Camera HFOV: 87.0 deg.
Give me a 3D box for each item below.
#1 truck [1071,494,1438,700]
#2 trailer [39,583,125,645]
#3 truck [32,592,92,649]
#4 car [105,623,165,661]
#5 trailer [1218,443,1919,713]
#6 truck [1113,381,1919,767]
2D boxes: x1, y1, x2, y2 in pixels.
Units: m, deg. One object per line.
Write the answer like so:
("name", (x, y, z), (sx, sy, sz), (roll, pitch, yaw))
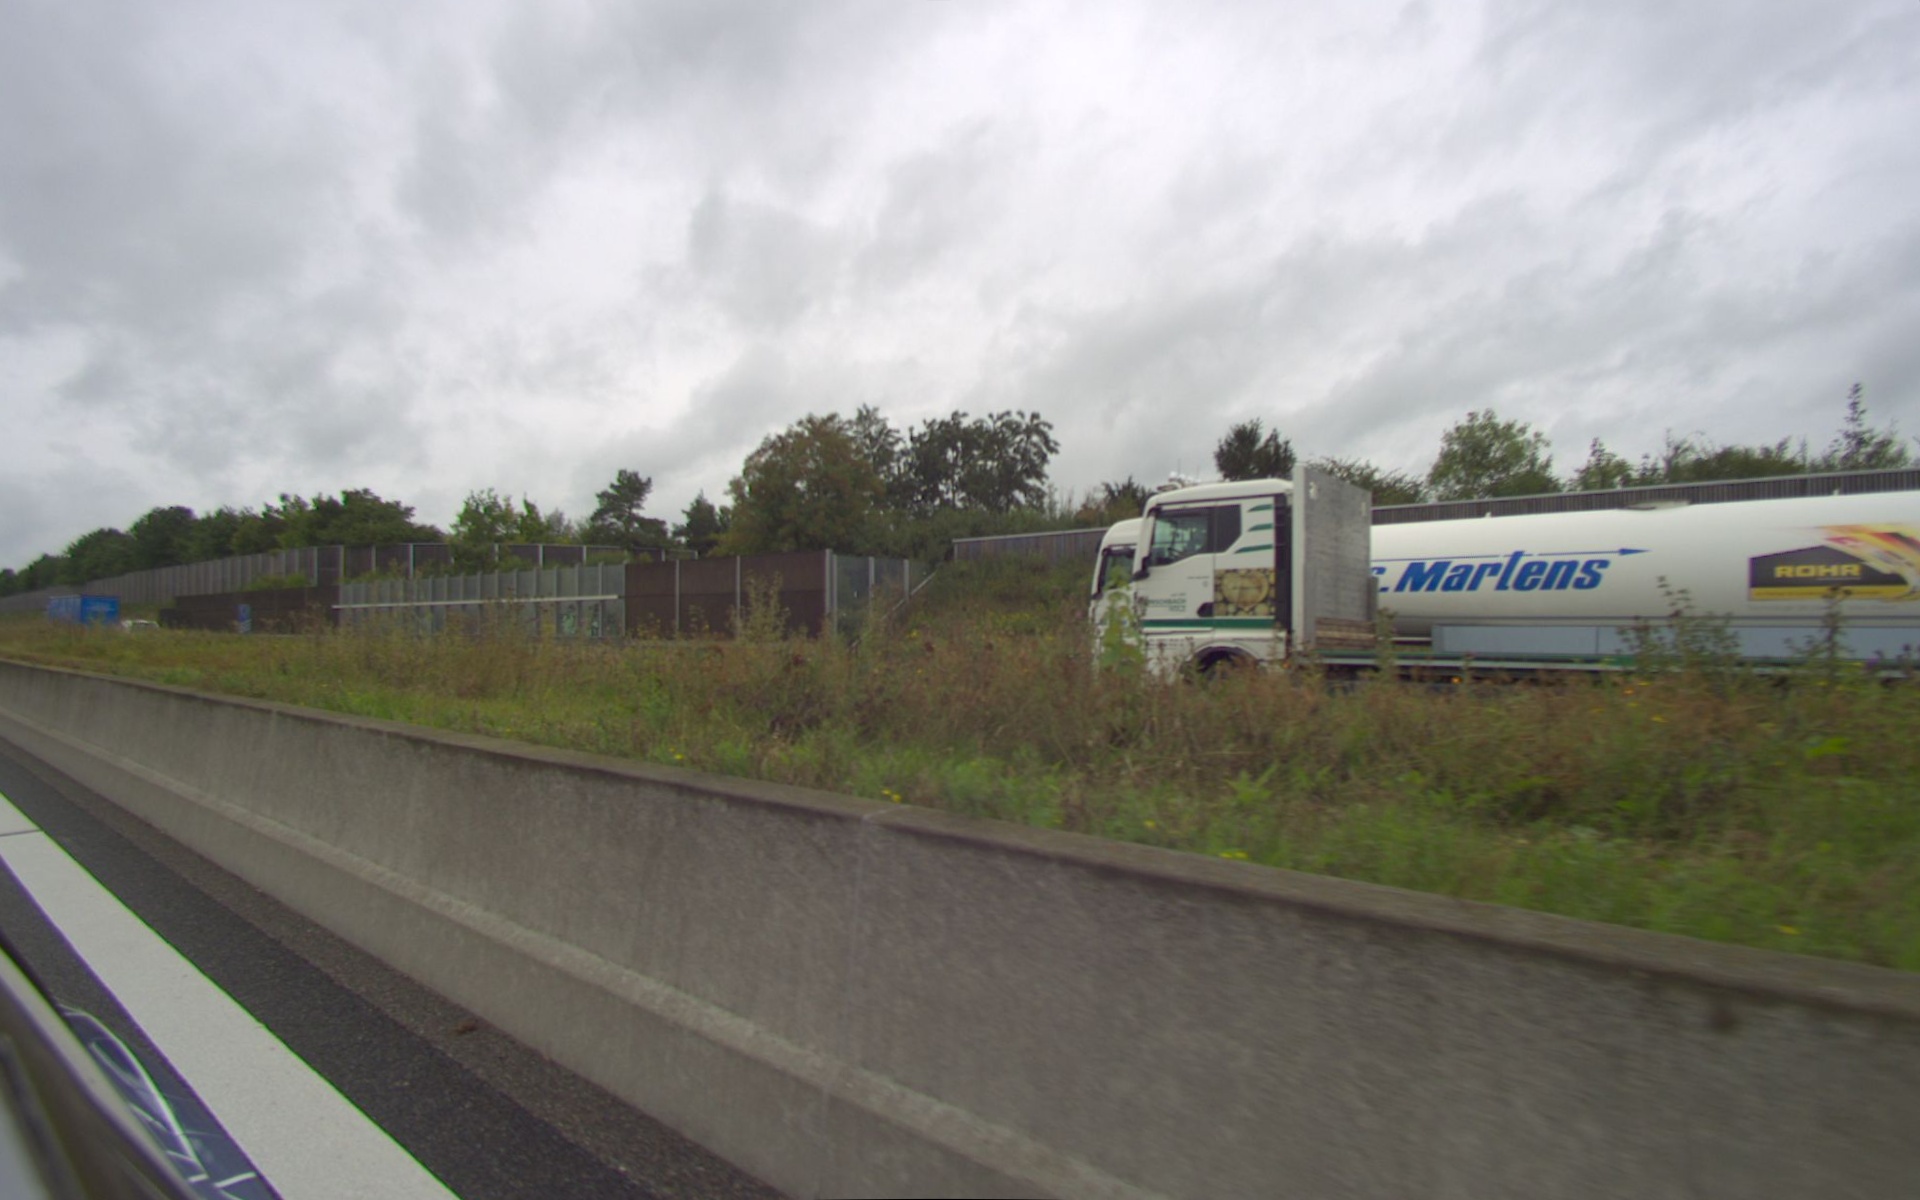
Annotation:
("truck", (5.028, -0.025, 17.802), (5.609, 3.042, 2.595), (-1, 0, 40))
("trailer", (-74.545, 1.192, 85.761), (13.513, 4.922, 3.185), (-1, 0, 39))
("truck", (-80.316, 1.796, 90.509), (5.414, 4.895, 3.156), (-1, 0, 40))
("car", (-47.431, 2.389, 58.150), (4.195, 2.029, 1.973), (-1, -1, 41))
("trailer", (9.223, -0.194, 14.210), (10.788, 3.012, 2.585), (-1, -1, 40))
("truck", (6.240, -0.181, 11.339), (8.723, 3.090, 2.925), (-1, 0, 41))
